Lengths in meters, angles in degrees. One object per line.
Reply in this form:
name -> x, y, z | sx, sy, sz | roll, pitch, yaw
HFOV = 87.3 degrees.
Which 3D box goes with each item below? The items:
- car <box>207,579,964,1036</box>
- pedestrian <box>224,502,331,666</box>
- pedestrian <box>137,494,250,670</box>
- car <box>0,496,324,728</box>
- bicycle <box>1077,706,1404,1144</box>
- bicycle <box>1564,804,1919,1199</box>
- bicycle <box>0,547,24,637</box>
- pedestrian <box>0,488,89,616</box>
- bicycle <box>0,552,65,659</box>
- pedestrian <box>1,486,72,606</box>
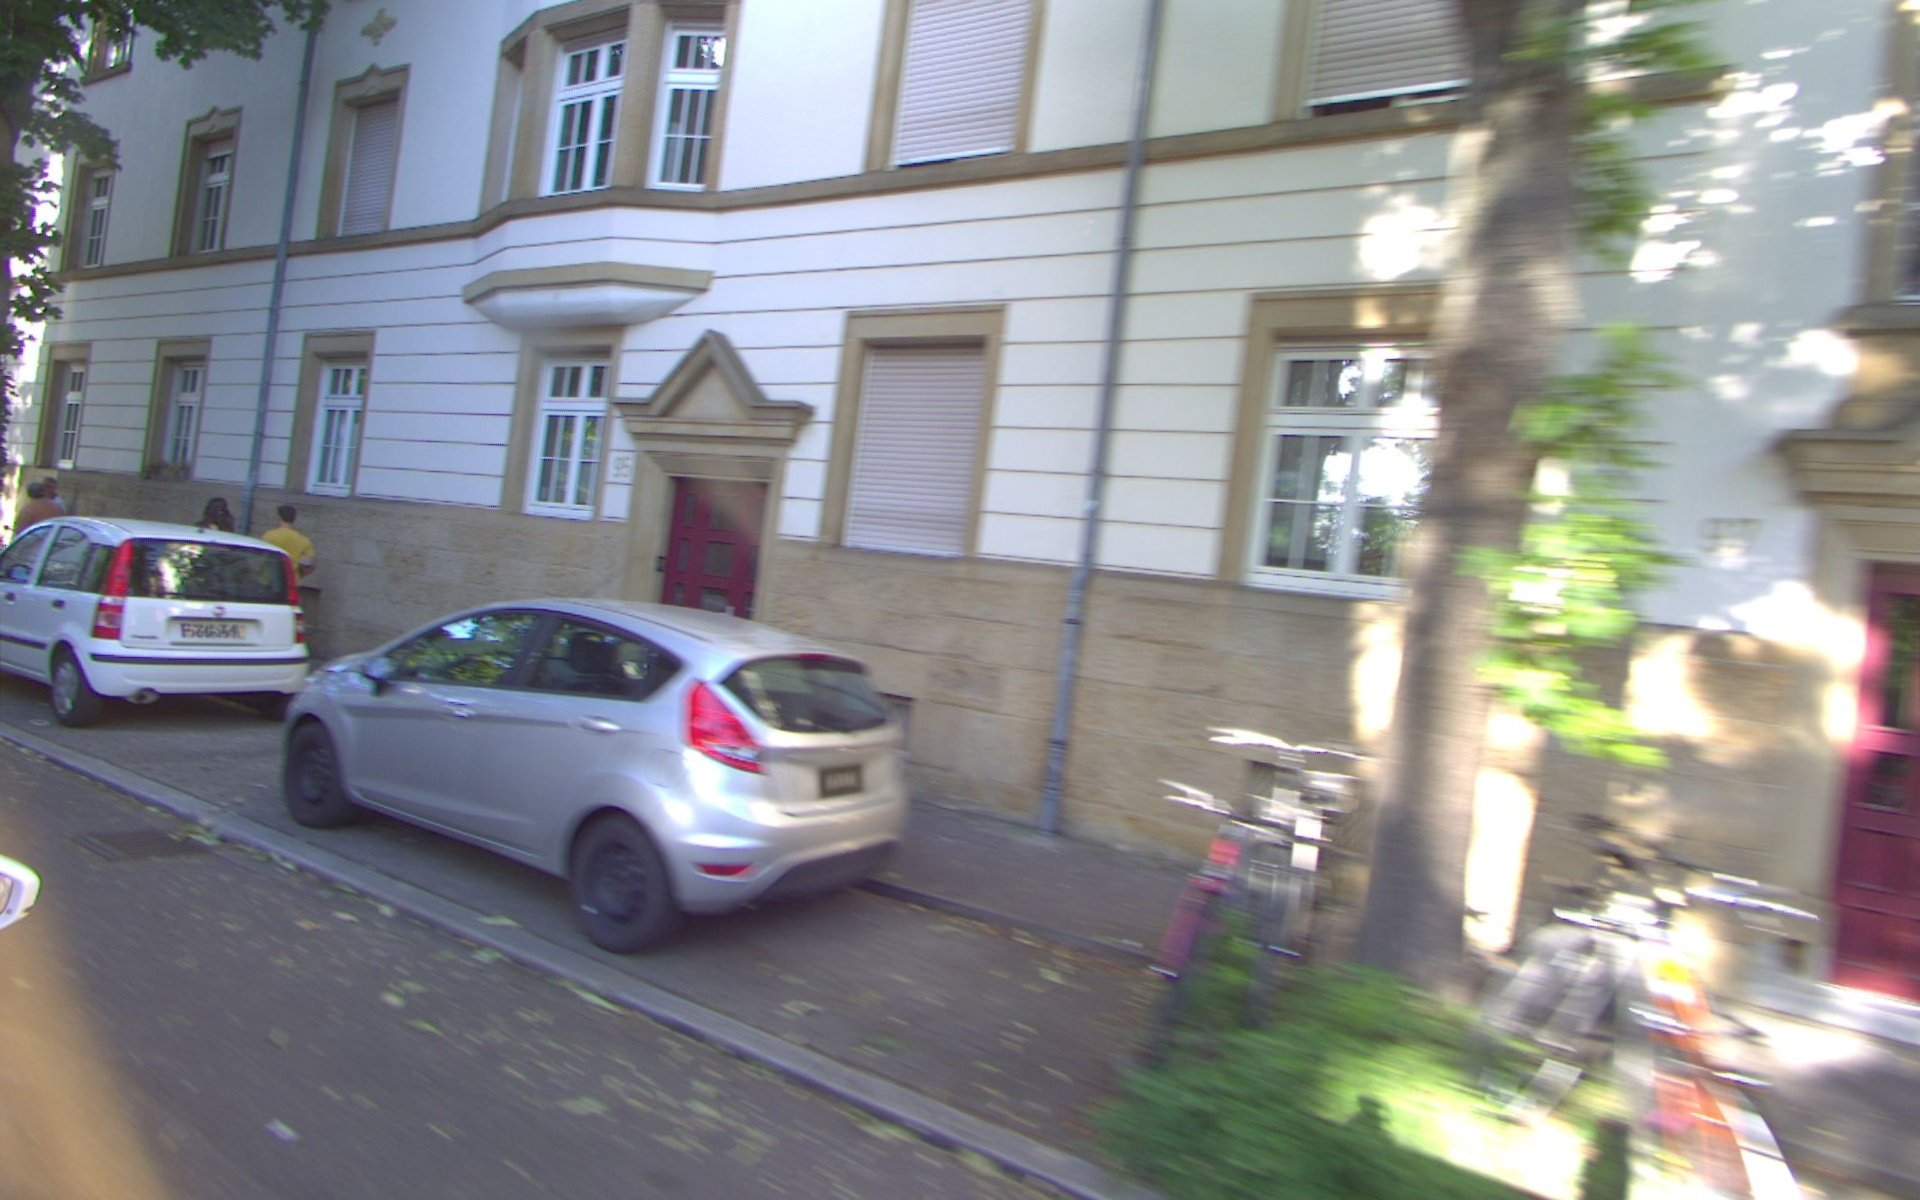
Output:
car -> -2.213, 0.851, 5.634 | 4.086, 1.411, 1.625 | 7, -1, 30
pedestrian -> -7.629, -0.172, 11.254 | 0.677, 1.722, 0.596 | 7, 0, 31
pedestrian -> -8.181, -0.196, 10.732 | 0.863, 1.756, 0.520 | 7, 0, 31
car -> -7.214, 0.018, 8.525 | 3.483, 1.529, 1.523 | 7, -1, 30
bicycle -> 1.296, 1.158, 4.275 | 0.747, 1.244, 1.972 | 7, 0, 30
bicycle -> 2.286, 1.337, 3.085 | 0.589, 1.086, 1.972 | 7, 0, 30
bicycle -> -11.317, -0.159, 10.763 | 0.721, 0.961, 1.718 | 7, 0, 29
pedestrian -> -13.458, -0.694, 14.656 | 0.860, 1.714, 0.779 | 7, -1, 32
bicycle -> -10.313, -0.015, 10.115 | 0.595, 1.051, 1.774 | 7, -2, 29
pedestrian -> -14.069, -0.815, 15.328 | 0.744, 1.727, 0.490 | 7, 2, 28
